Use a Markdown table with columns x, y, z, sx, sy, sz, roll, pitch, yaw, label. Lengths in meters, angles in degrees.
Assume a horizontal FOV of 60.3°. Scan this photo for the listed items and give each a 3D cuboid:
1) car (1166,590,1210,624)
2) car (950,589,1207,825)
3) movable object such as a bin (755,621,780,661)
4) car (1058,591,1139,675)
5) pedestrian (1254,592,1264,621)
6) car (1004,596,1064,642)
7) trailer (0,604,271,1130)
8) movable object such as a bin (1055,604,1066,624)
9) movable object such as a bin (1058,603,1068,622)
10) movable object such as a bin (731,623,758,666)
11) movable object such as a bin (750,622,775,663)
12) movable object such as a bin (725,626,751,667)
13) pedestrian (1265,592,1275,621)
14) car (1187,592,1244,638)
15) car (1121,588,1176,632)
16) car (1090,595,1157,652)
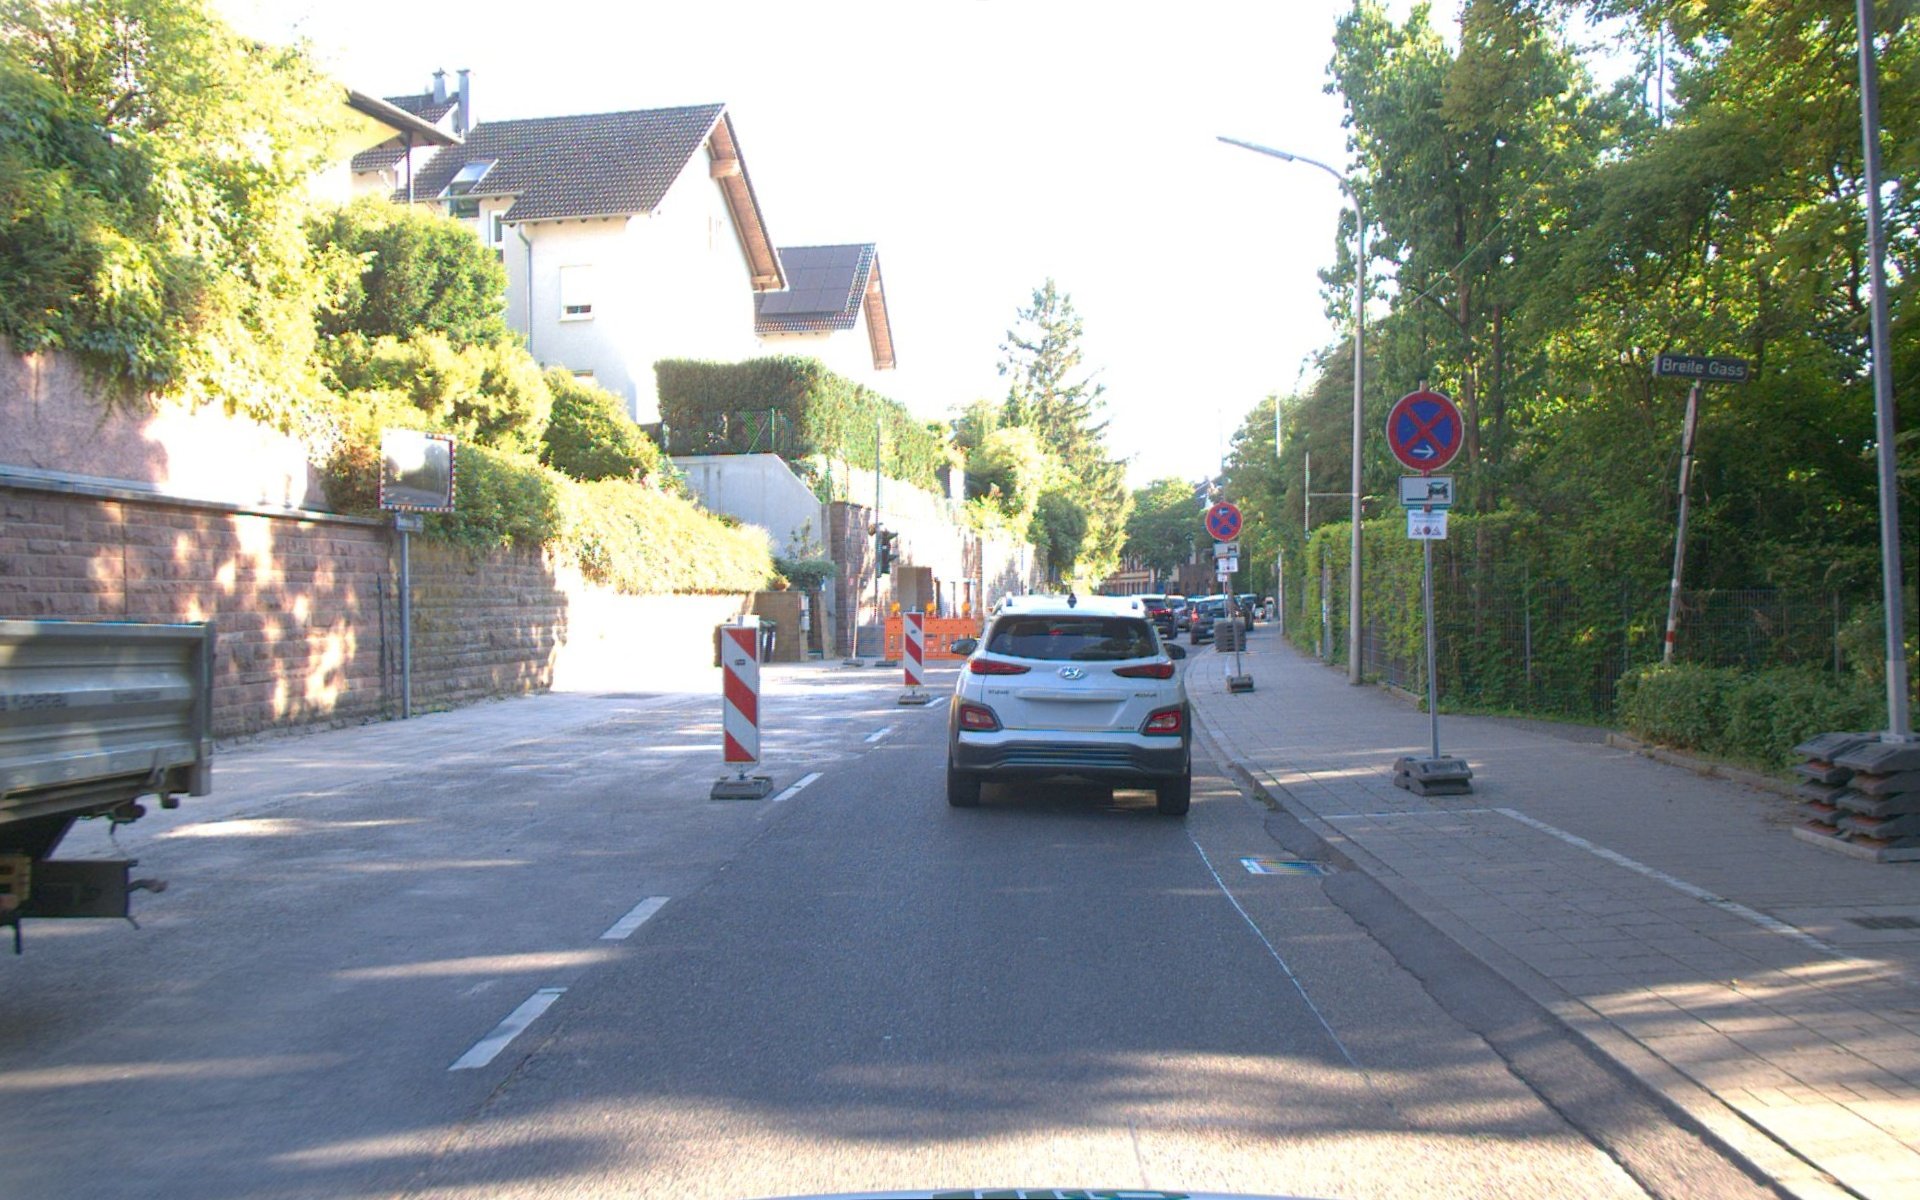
| x | y | z | sx | sy | sz | roll | pitch | yaw | label |
| --- | --- | --- | --- | --- | --- | --- | --- | --- | --- |
| 10.444 | 0.304 | 75.540 | 1.657 | 1.472 | 3.885 | -1 | 0 | 12 | car |
| 1.015 | 0.736 | 13.437 | 1.735 | 1.569 | 4.003 | 2 | 0 | 6 | car |
| -4.352 | 0.930 | 37.443 | 0.446 | 0.899 | 0.501 | 0 | 0 | 9 | movable object such as a bin |
| 2.819 | 0.620 | 33.100 | 1.480 | 1.560 | 3.550 | -1 | 0 | 7 | car |
| 16.883 | 0.358 | 93.391 | 0.492 | 1.634 | 0.492 | -3 | -1 | 11 | pedestrian |
| 2.521 | 0.620 | 55.794 | 1.592 | 1.446 | 3.566 | -2 | 0 | 9 | car |
| -4.056 | 0.773 | 3.129 | 2.586 | 1.515 | 7.117 | 0 | 0 | -1 | trailer |
| 5.230 | 0.724 | 86.034 | 0.561 | 1.002 | 0.439 | 0 | -1 | 8 | movable object such as a bin |
| 5.429 | 0.664 | 87.073 | 0.479 | 0.981 | 0.584 | 0 | 0 | 8 | movable object such as a bin |
| -4.628 | 0.956 | 35.556 | 0.446 | 0.899 | 0.501 | 0 | 0 | 9 | movable object such as a bin |
| -4.405 | 0.949 | 36.897 | 0.446 | 0.899 | 0.501 | 0 | 0 | 9 | movable object such as a bin |
| -4.706 | 0.984 | 35.091 | 0.444 | 0.848 | 0.392 | -1 | 0 | 9 | movable object such as a bin |
| 17.435 | 0.342 | 93.084 | 0.492 | 1.596 | 0.504 | -3 | -1 | 11 | pedestrian |
| 8.590 | 0.475 | 55.448 | 1.756 | 1.466 | 4.004 | -1 | 0 | 10 | car |
| 6.976 | 0.358 | 61.080 | 1.657 | 1.560 | 3.885 | -1 | 0 | 12 | car |
| 4.561 | 0.616 | 45.788 | 1.537 | 1.503 | 3.551 | 0 | 0 | 11 | car |
